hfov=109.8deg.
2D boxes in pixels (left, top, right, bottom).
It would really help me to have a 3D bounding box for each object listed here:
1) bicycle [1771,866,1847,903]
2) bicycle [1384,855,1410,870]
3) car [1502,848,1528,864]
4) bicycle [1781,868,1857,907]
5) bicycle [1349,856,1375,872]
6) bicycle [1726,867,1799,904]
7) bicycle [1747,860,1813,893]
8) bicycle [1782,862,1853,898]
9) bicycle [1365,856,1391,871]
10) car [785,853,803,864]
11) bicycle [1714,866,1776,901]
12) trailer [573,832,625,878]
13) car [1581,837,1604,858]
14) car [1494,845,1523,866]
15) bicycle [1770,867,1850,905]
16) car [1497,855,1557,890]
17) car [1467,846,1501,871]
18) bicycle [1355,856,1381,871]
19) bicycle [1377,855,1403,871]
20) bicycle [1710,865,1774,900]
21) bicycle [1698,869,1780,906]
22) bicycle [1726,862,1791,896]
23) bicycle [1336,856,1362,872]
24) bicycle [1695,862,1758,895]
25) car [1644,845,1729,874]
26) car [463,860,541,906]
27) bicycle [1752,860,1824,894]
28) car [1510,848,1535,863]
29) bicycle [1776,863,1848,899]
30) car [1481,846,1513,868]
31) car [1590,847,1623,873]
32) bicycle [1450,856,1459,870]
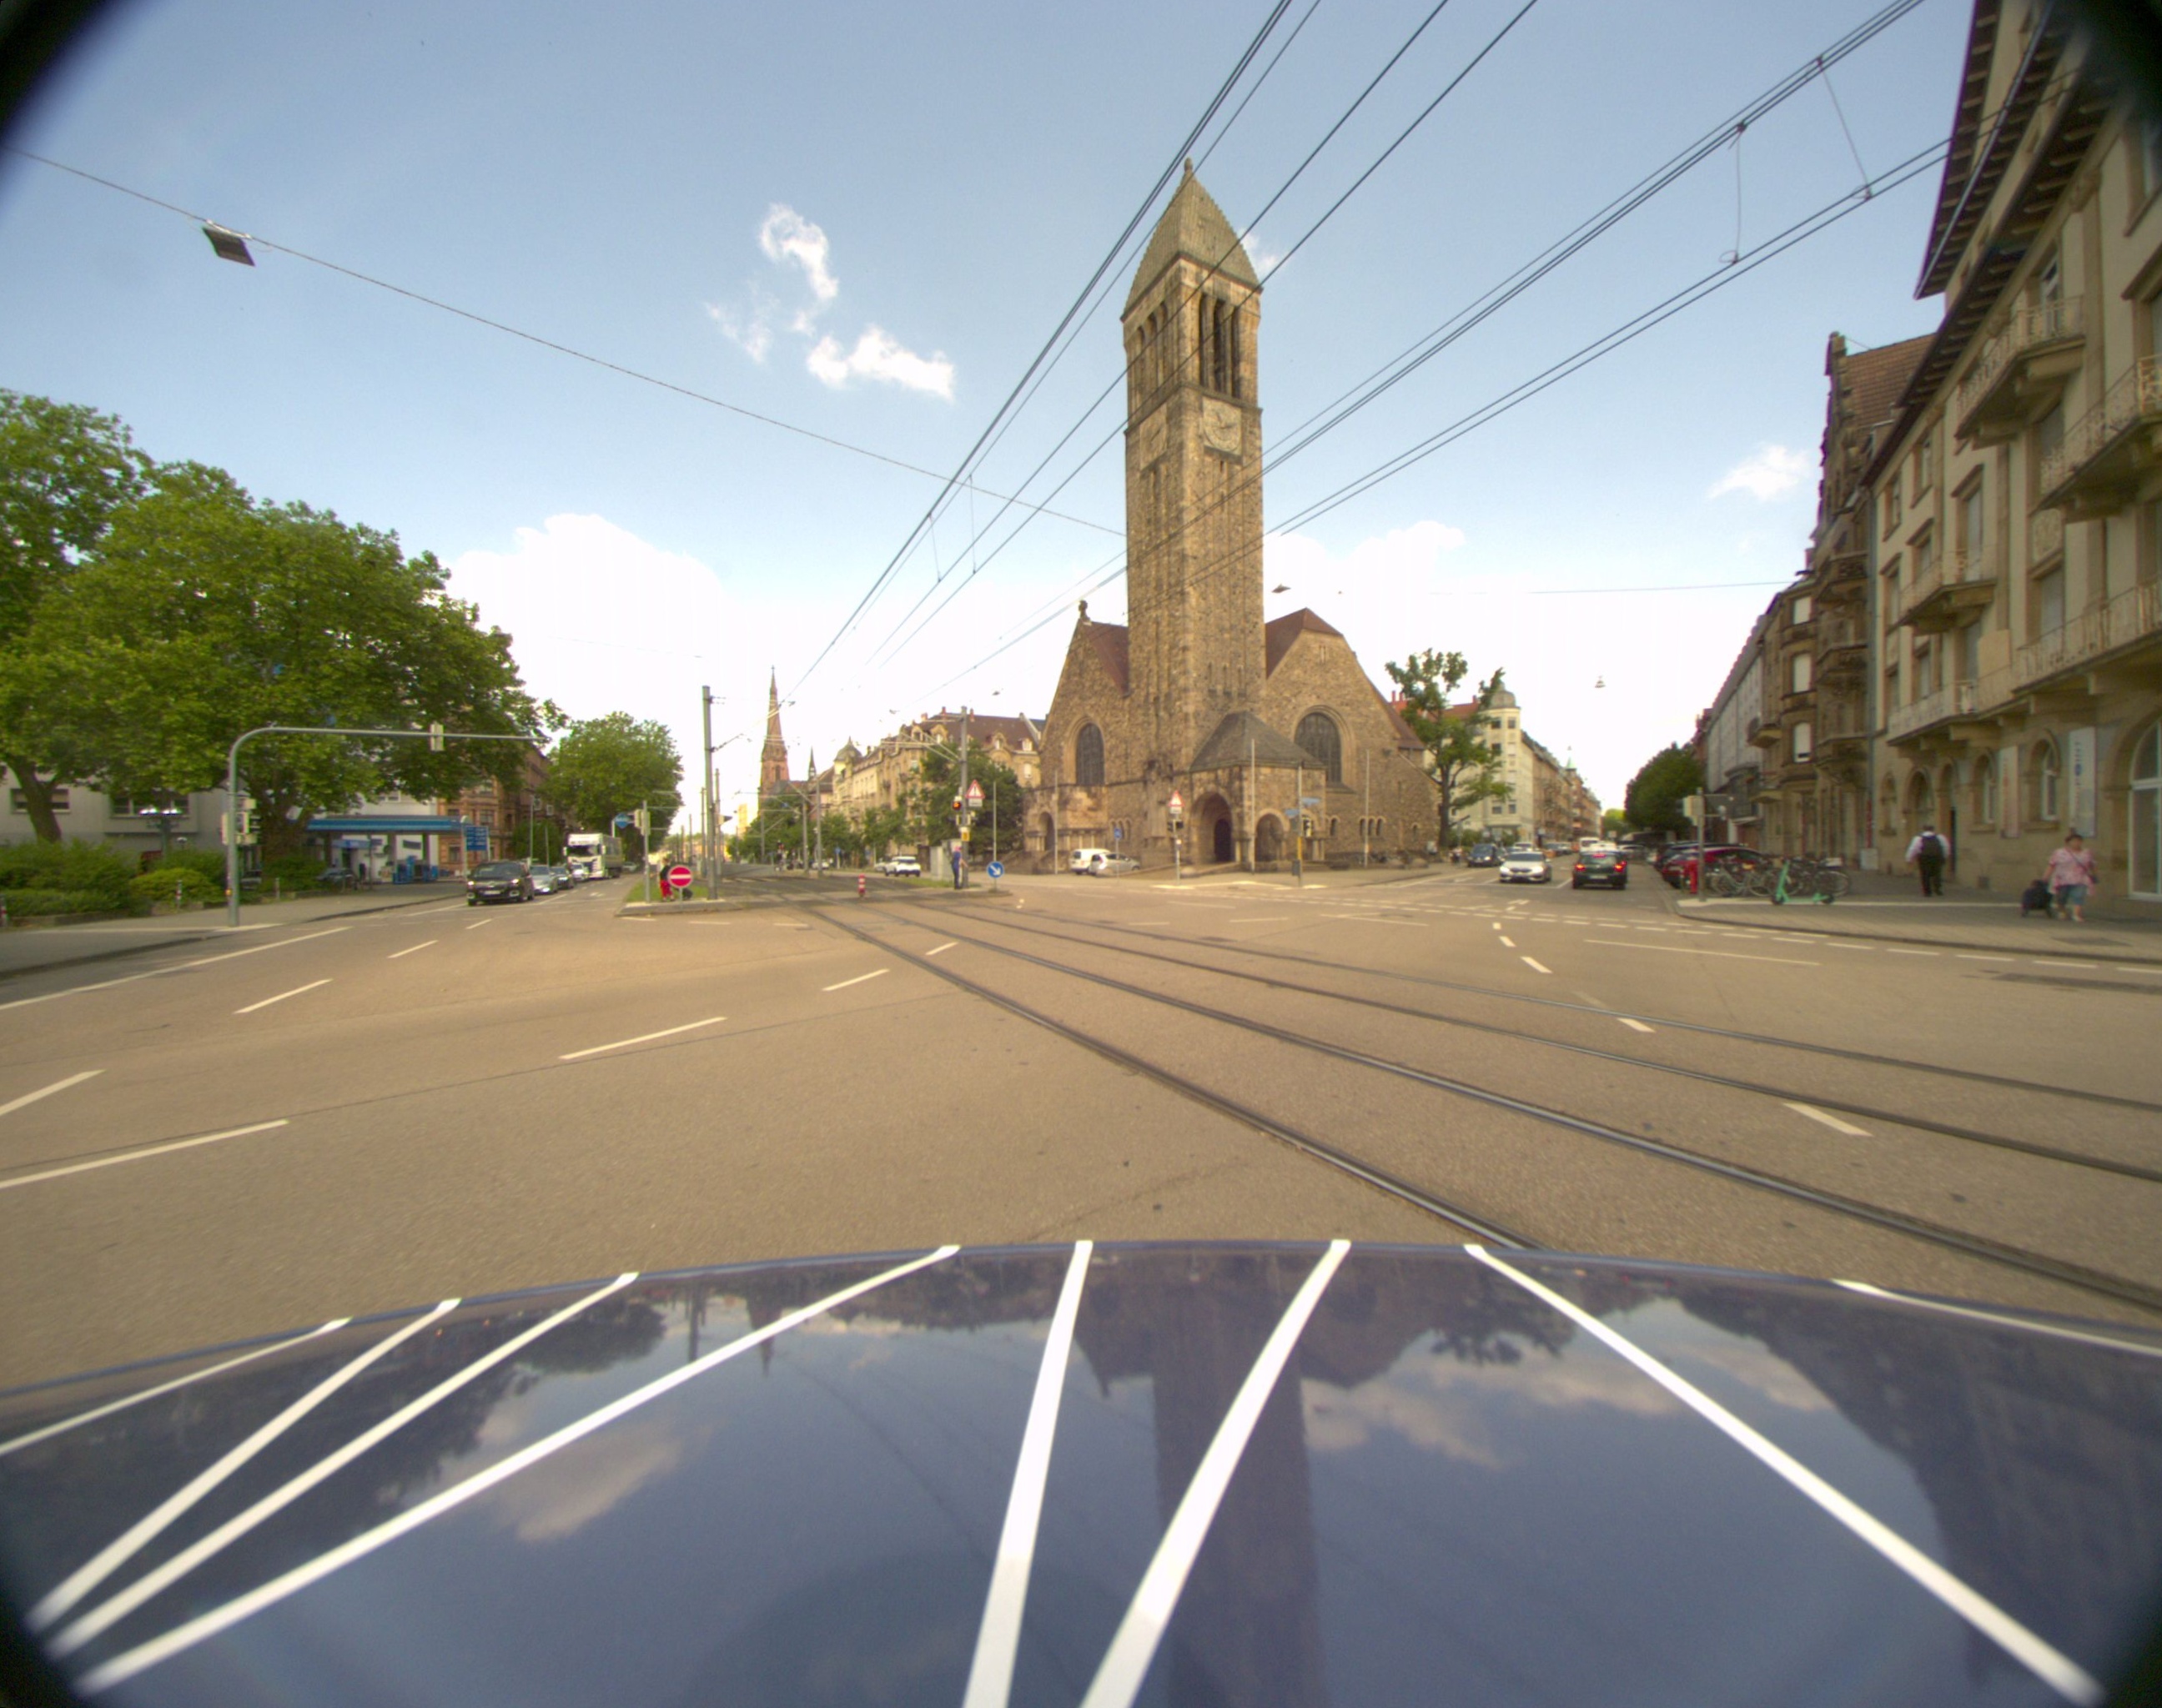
[{"bbox_3d":[21.502,0.896,22.462,1.578,1.045,0.481,-3,-1,44],"label":"bicycle"},{"bbox_3d":[25.626,0.688,61.669,0.587,1.106,1.933,-2,4,-32],"label":"bicycle"},{"bbox_3d":[41.052,0.177,71.818,1.679,1.438,3.806,0,1,38],"label":"car"},{"bbox_3d":[20.262,0.920,20.883,0.481,1.045,1.439,-2,-1,-44],"label":"bicycle"},{"bbox_3d":[22.073,0.767,59.664,0.587,1.106,1.933,-2,4,-32],"label":"bicycle"},{"bbox_3d":[20.403,0.951,22.779,1.578,1.045,0.481,-3,-1,44],"label":"bicycle"},{"bbox_3d":[23.960,0.762,26.048,1.904,1.045,0.557,-2,-1,-8],"label":"bicycle"},{"bbox_3d":[22.653,0.807,23.402,1.480,1.045,0.463,-3,-1,34],"label":"bicycle"},{"bbox_3d":[23.619,0.735,60.421,0.587,1.106,1.933,-2,4,-32],"label":"bicycle"},{"bbox_3d":[-40.879,0.678,108.258,1.788,1.526,4.376,-1,1,-28],"label":"car"},{"bbox_3d":[20.627,0.919,23.631,1.369,1.045,0.419,-3,-1,35],"label":"bicycle"},{"bbox_3d":[-46.199,0.019,73.142,2.921,4.054,11.624,-1,1,-26],"label":"trailer"},{"bbox_3d":[60.819,-0.727,90.316,2.077,2.431,5.958,2,1,36],"label":"car"},{"bbox_3d":[38.267,0.121,67.981,1.679,1.780,4.008,0,1,38],"label":"car"},{"bbox_3d":[20.872,0.931,21.794,1.610,1.045,0.481,-3,-1,44],"label":"bicycle"},{"bbox_3d":[20.776,0.812,35.337,1.822,1.440,4.395,2,2,38],"label":"car"},{"bbox_3d":[31.121,0.322,58.621,1.679,1.780,4.154,0,1,38],"label":"car"},{"bbox_3d":[22.690,0.753,60.032,0.587,1.106,1.933,-2,4,-32],"label":"bicycle"},{"bbox_3d":[24.919,0.704,61.283,0.587,1.106,1.933,-2,4,-32],"label":"bicycle"},{"bbox_3d":[20.858,0.907,24.012,1.480,1.045,0.463,-3,-1,37],"label":"bicycle"},{"bbox_3d":[19.495,0.999,22.556,0.532,1.045,1.732,-2,-1,-37],"label":"bicycle"},{"bbox_3d":[21.873,0.820,24.573,1.480,1.045,0.463,-3,-1,33],"label":"bicycle"},{"bbox_3d":[20.745,0.799,58.809,0.587,1.106,1.933,-2,4,-32],"label":"bicycle"},{"bbox_3d":[21.850,0.821,25.730,1.812,1.045,0.557,-2,-1,-9],"label":"bicycle"},{"bbox_3d":[38.298,0.340,48.118,3.952,1.575,1.731,-3,-2,-3],"label":"car"},{"bbox_3d":[-24.190,1.162,31.907,1.857,1.717,4.409,-1,1,-27],"label":"car"},{"bbox_3d":[22.971,0.760,24.718,1.628,1.045,0.559,-3,-1,36],"label":"bicycle"},{"bbox_3d":[44.213,0.127,76.043,1.679,1.488,3.898,0,1,38],"label":"car"},{"bbox_3d":[22.086,0.817,22.987,1.480,1.045,0.463,-3,-1,38],"label":"bicycle"},{"bbox_3d":[34.306,0.226,62.609,1.679,1.780,4.008,0,1,38],"label":"car"},{"bbox_3d":[36.591,0.417,52.866,1.812,1.765,4.293,1,0,36],"label":"car"},{"bbox_3d":[29.951,0.717,60.952,0.479,1.046,1.446,0,1,31],"label":"bicycle"}]
